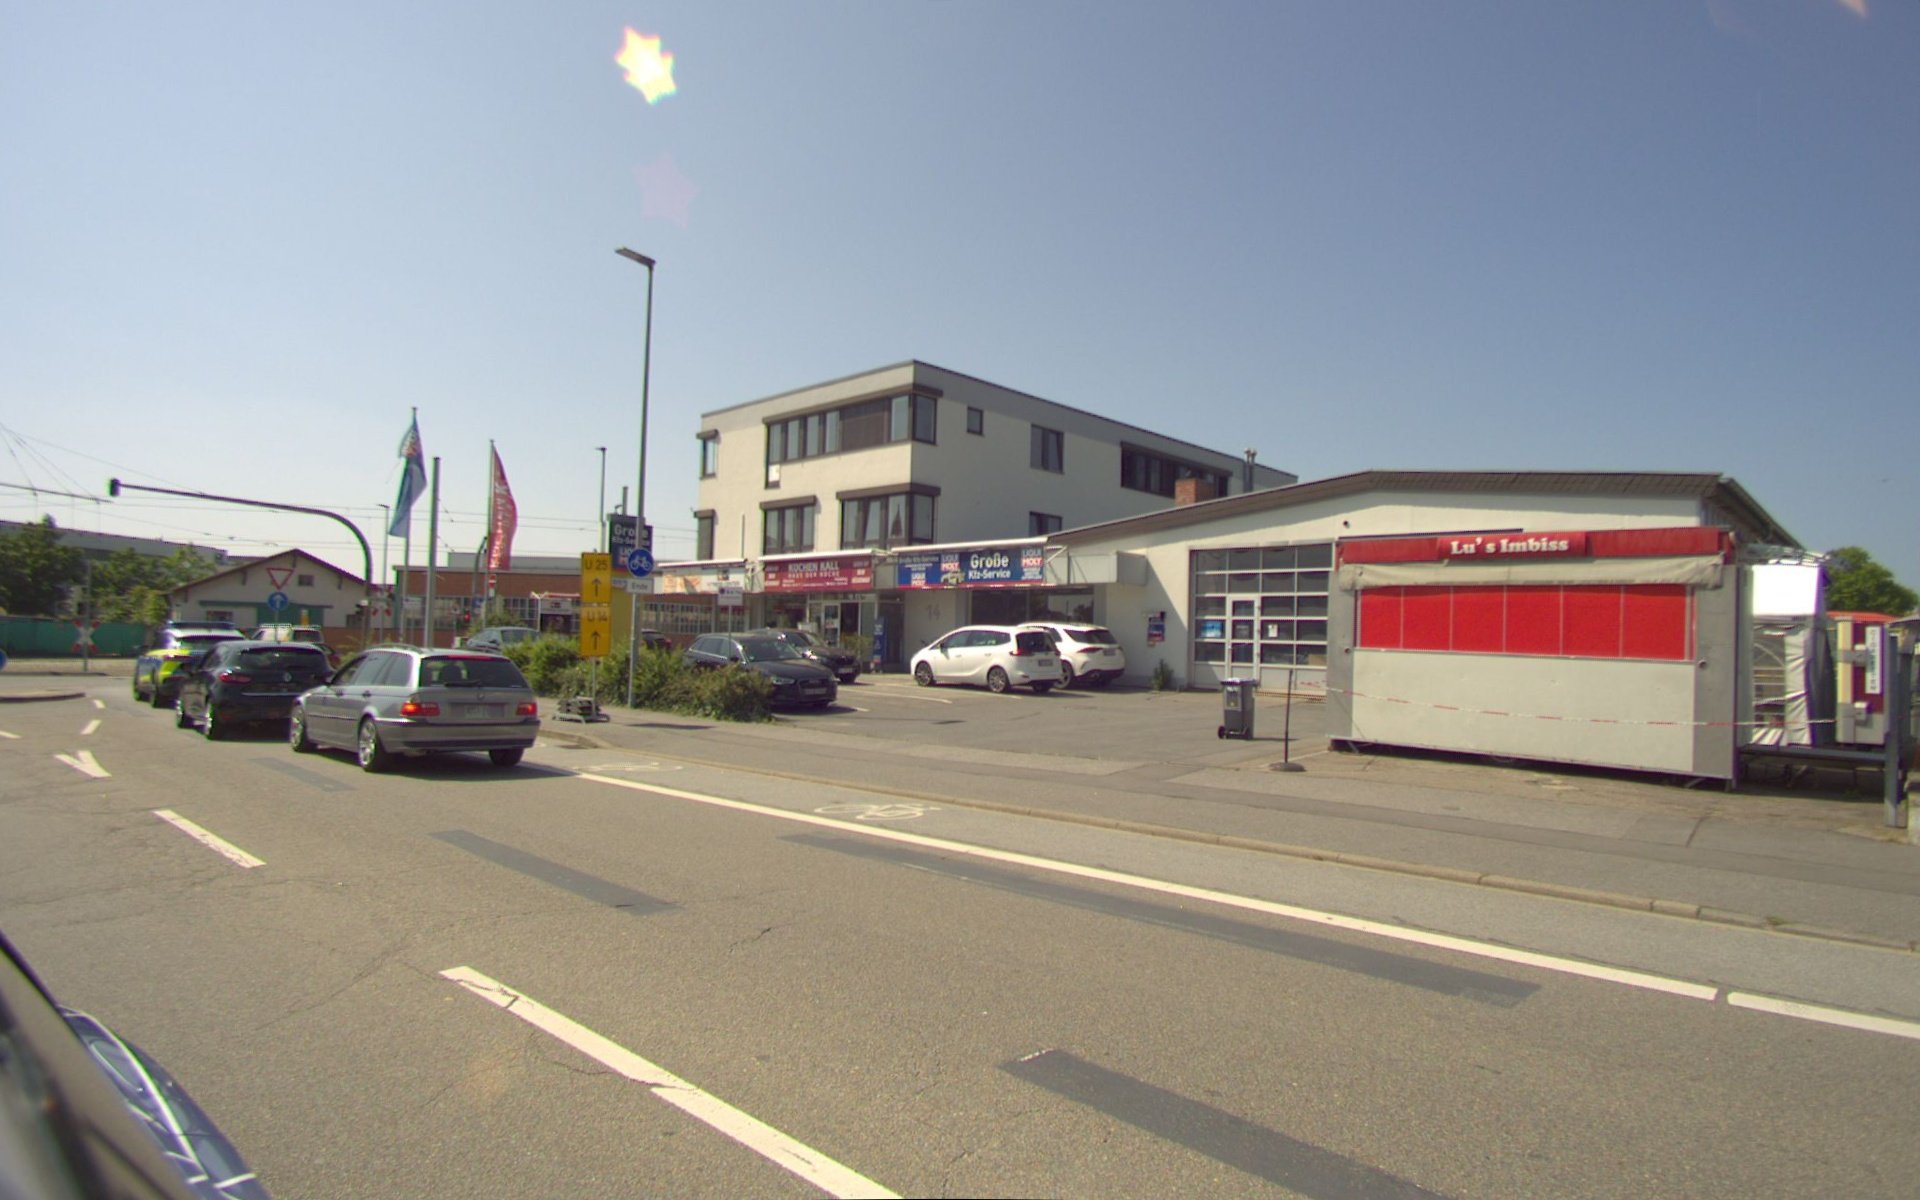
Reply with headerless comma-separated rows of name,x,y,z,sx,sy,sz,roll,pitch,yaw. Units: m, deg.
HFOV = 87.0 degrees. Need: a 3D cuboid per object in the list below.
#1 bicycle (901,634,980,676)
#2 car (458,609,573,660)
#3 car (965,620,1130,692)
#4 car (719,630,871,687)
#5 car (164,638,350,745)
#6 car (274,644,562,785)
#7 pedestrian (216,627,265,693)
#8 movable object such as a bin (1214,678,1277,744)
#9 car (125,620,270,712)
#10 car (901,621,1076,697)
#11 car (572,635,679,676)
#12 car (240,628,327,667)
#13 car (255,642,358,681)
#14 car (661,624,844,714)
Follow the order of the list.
bicycle,-0.601,1.722,31.715,2.450,1.291,0.700,0,-3,2
car,-14.832,1.182,33.642,1.885,1.585,4.820,4,-4,-45
car,2.372,1.543,28.191,1.885,1.830,4.421,4,-4,-45
car,-4.591,1.582,27.804,1.885,1.432,4.421,4,-4,-45
car,-11.208,1.385,16.021,1.641,1.465,4.243,6,-6,-44
car,-6.756,1.292,12.410,4.323,1.415,1.723,-2,-6,42
pedestrian,-19.243,1.603,27.064,0.981,1.698,0.801,3,-4,-37
movable object such as a bin,4.334,1.672,15.355,0.564,0.930,0.691,0,-2,-35
car,-16.478,1.378,21.800,1.871,1.772,4.355,4,-4,-45
car,0.653,1.483,26.337,1.885,1.721,4.482,4,-2,-44
car,-12.259,2.008,36.917,1.885,1.399,4.487,4,-4,-45
car,-35.380,2.458,52.917,4.418,1.962,1.978,-1,-4,29
car,-27.278,2.575,42.416,1.743,1.465,4.111,4,-3,-3
car,-4.476,1.424,21.531,4.001,1.728,1.883,-2,-4,44
